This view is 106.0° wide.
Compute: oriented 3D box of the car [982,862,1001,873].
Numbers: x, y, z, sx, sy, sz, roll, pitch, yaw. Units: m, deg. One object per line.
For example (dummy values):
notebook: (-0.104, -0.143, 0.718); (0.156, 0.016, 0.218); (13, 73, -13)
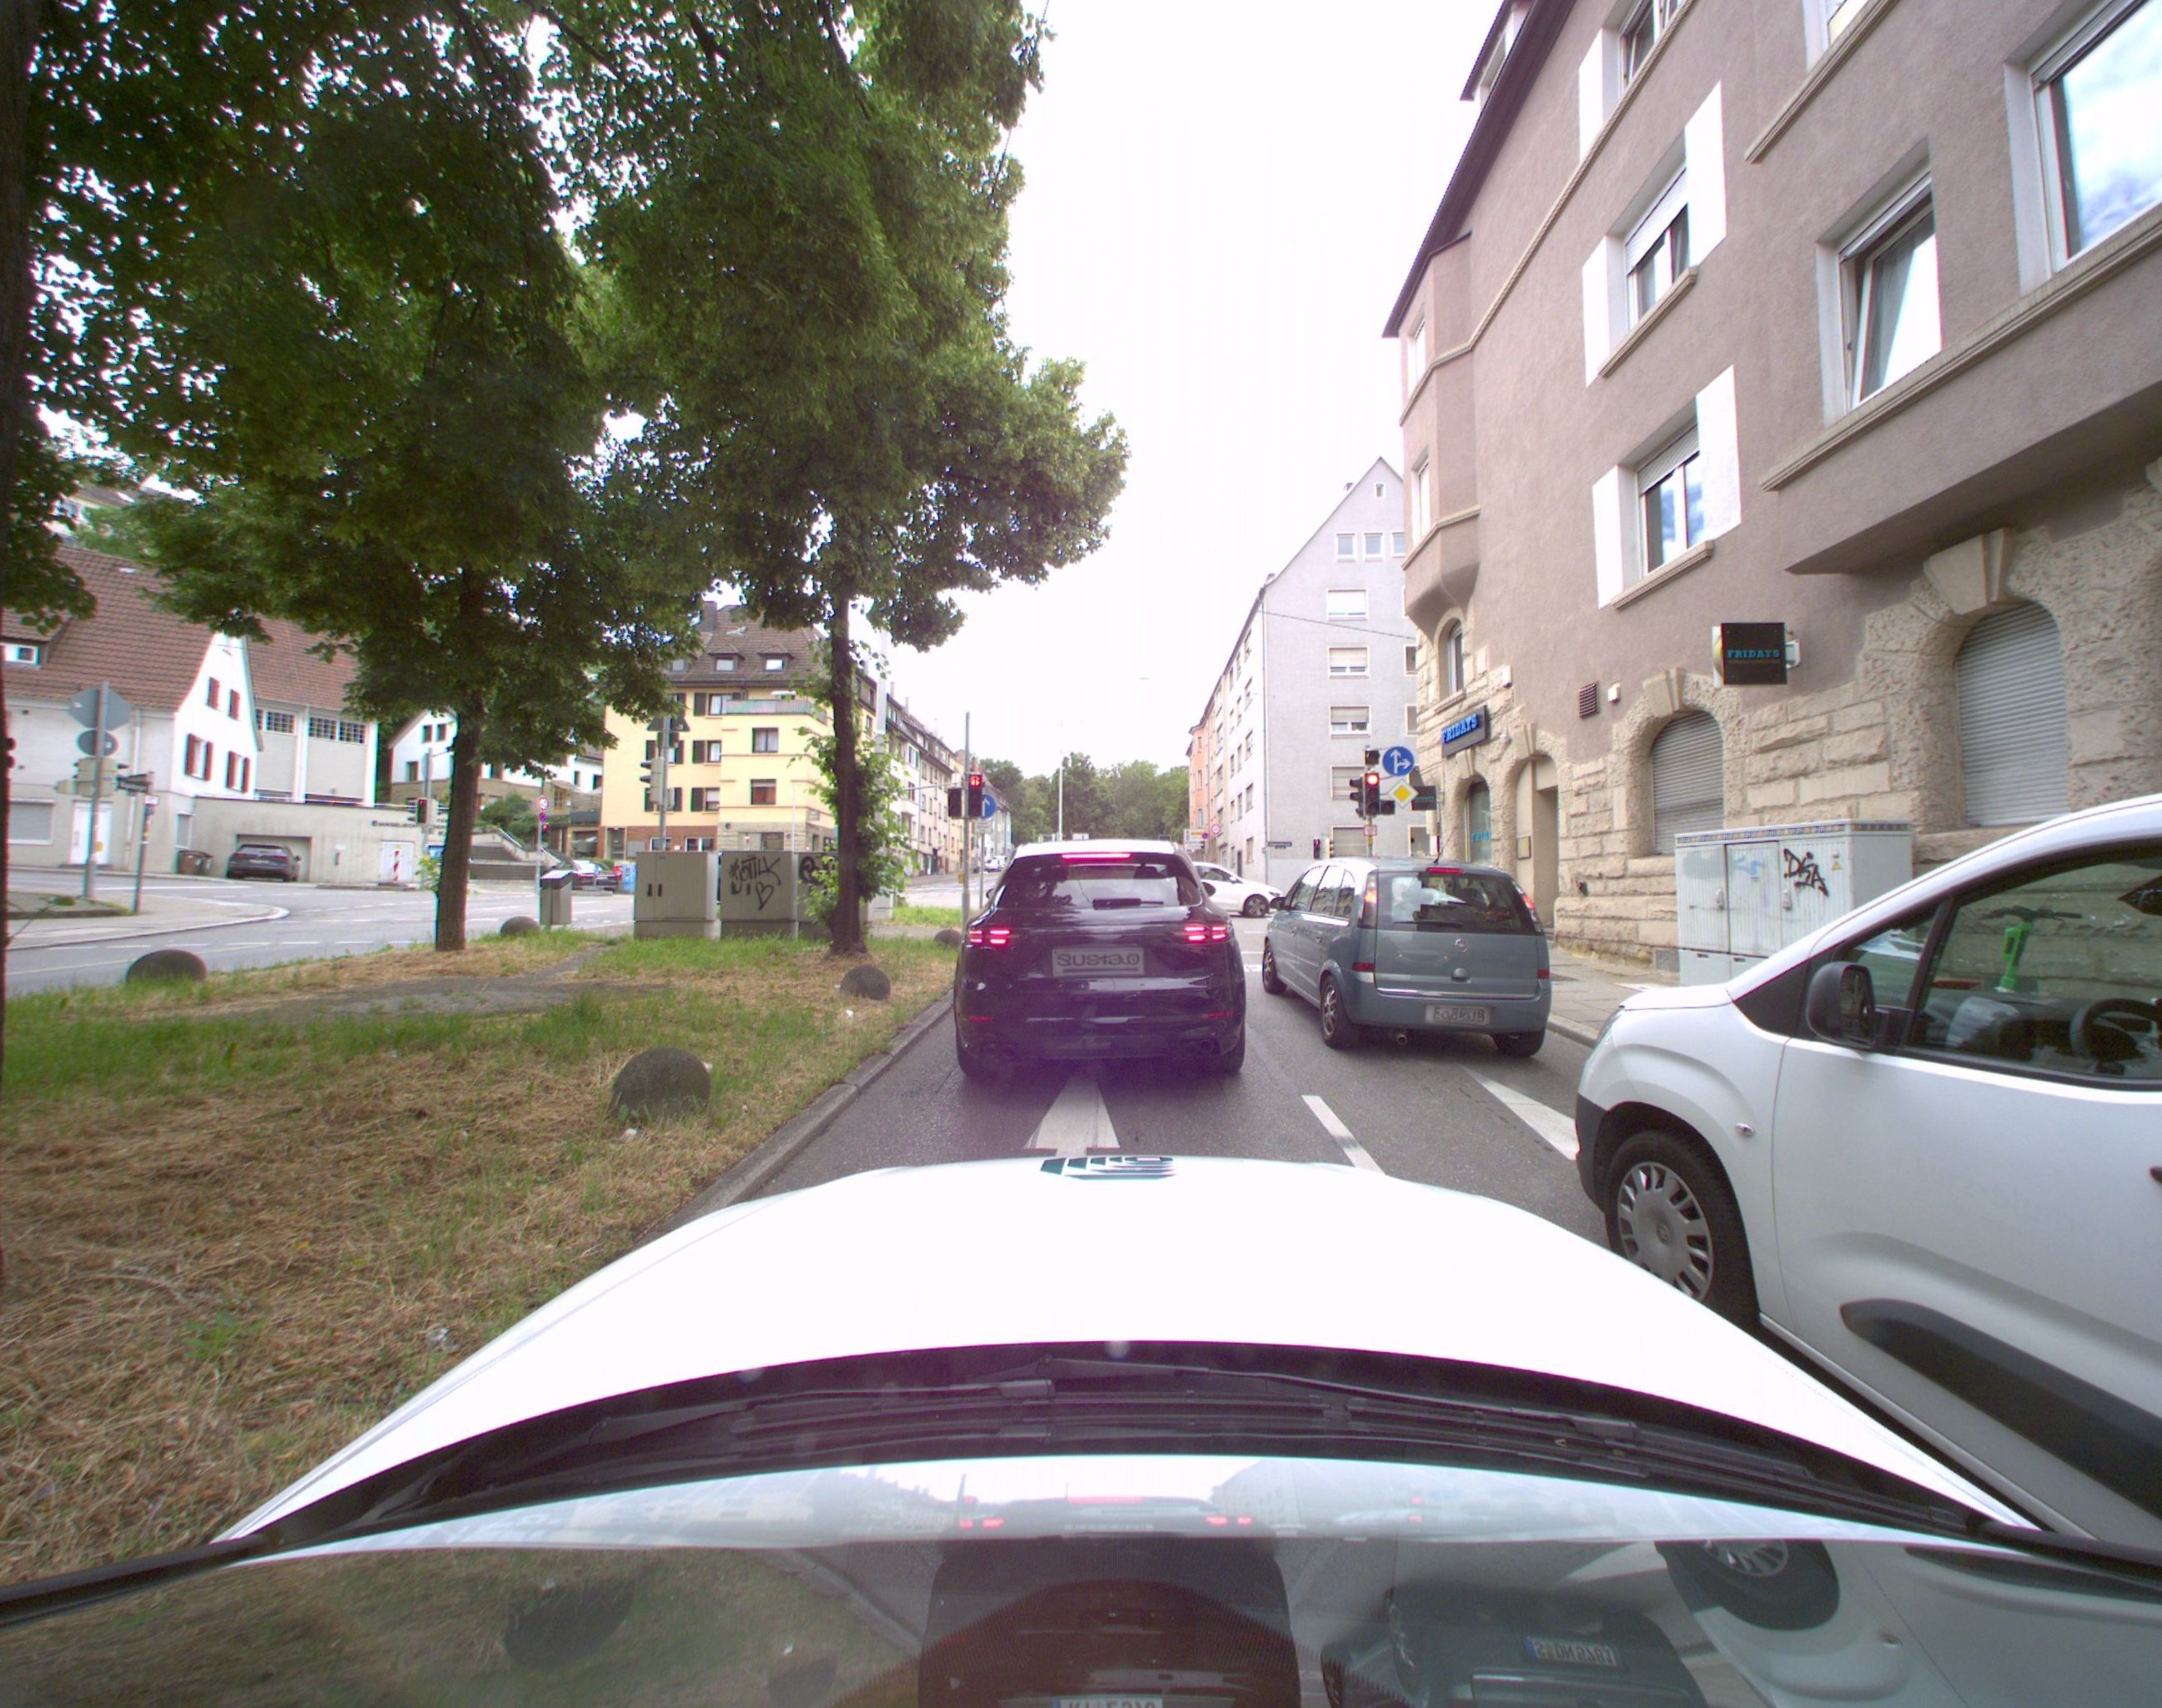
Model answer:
car: (-10.873, 1.626, 99.337); (1.732, 1.387, 3.815); (0, 0, 2)

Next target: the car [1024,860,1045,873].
car: (-5.079, 1.344, 88.624); (1.854, 1.388, 4.096); (0, 0, 2)

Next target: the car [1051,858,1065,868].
car: (-3.755, 1.442, 134.553); (1.966, 1.610, 4.560); (0, 0, 2)

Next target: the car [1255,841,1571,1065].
car: (2.871, 0.753, 7.918); (1.622, 1.598, 3.670); (3, 0, 2)

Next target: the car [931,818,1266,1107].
car: (0.163, 0.658, 6.818); (1.948, 1.674, 4.001); (-1, -1, 2)

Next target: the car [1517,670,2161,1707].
car: (2.820, 0.613, 1.058); (1.969, 1.775, 4.676); (3, 0, 0)

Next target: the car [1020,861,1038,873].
car: (-7.061, 1.775, 111.157); (1.836, 1.486, 3.902); (0, 0, 4)

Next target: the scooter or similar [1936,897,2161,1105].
scooter or similar: (6.390, 0.863, 5.151); (0.524, 1.104, 1.424); (-1, -1, 4)

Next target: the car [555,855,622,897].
car: (-23.547, 1.007, 38.878); (3.477, 1.596, 1.881); (7, 4, 44)

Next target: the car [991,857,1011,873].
car: (-10.302, 1.420, 104.992); (2.008, 2.045, 4.669); (0, -1, 2)

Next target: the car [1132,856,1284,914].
car: (3.675, 0.900, 23.999); (4.236, 1.594, 1.690); (1, -2, 1)

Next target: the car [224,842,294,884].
car: (-32.156, 0.356, 31.832); (3.019, 1.405, 1.681); (2, -4, 42)

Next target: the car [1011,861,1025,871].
car: (-9.664, 1.834, 125.378); (1.682, 1.538, 3.815); (0, 0, 2)
